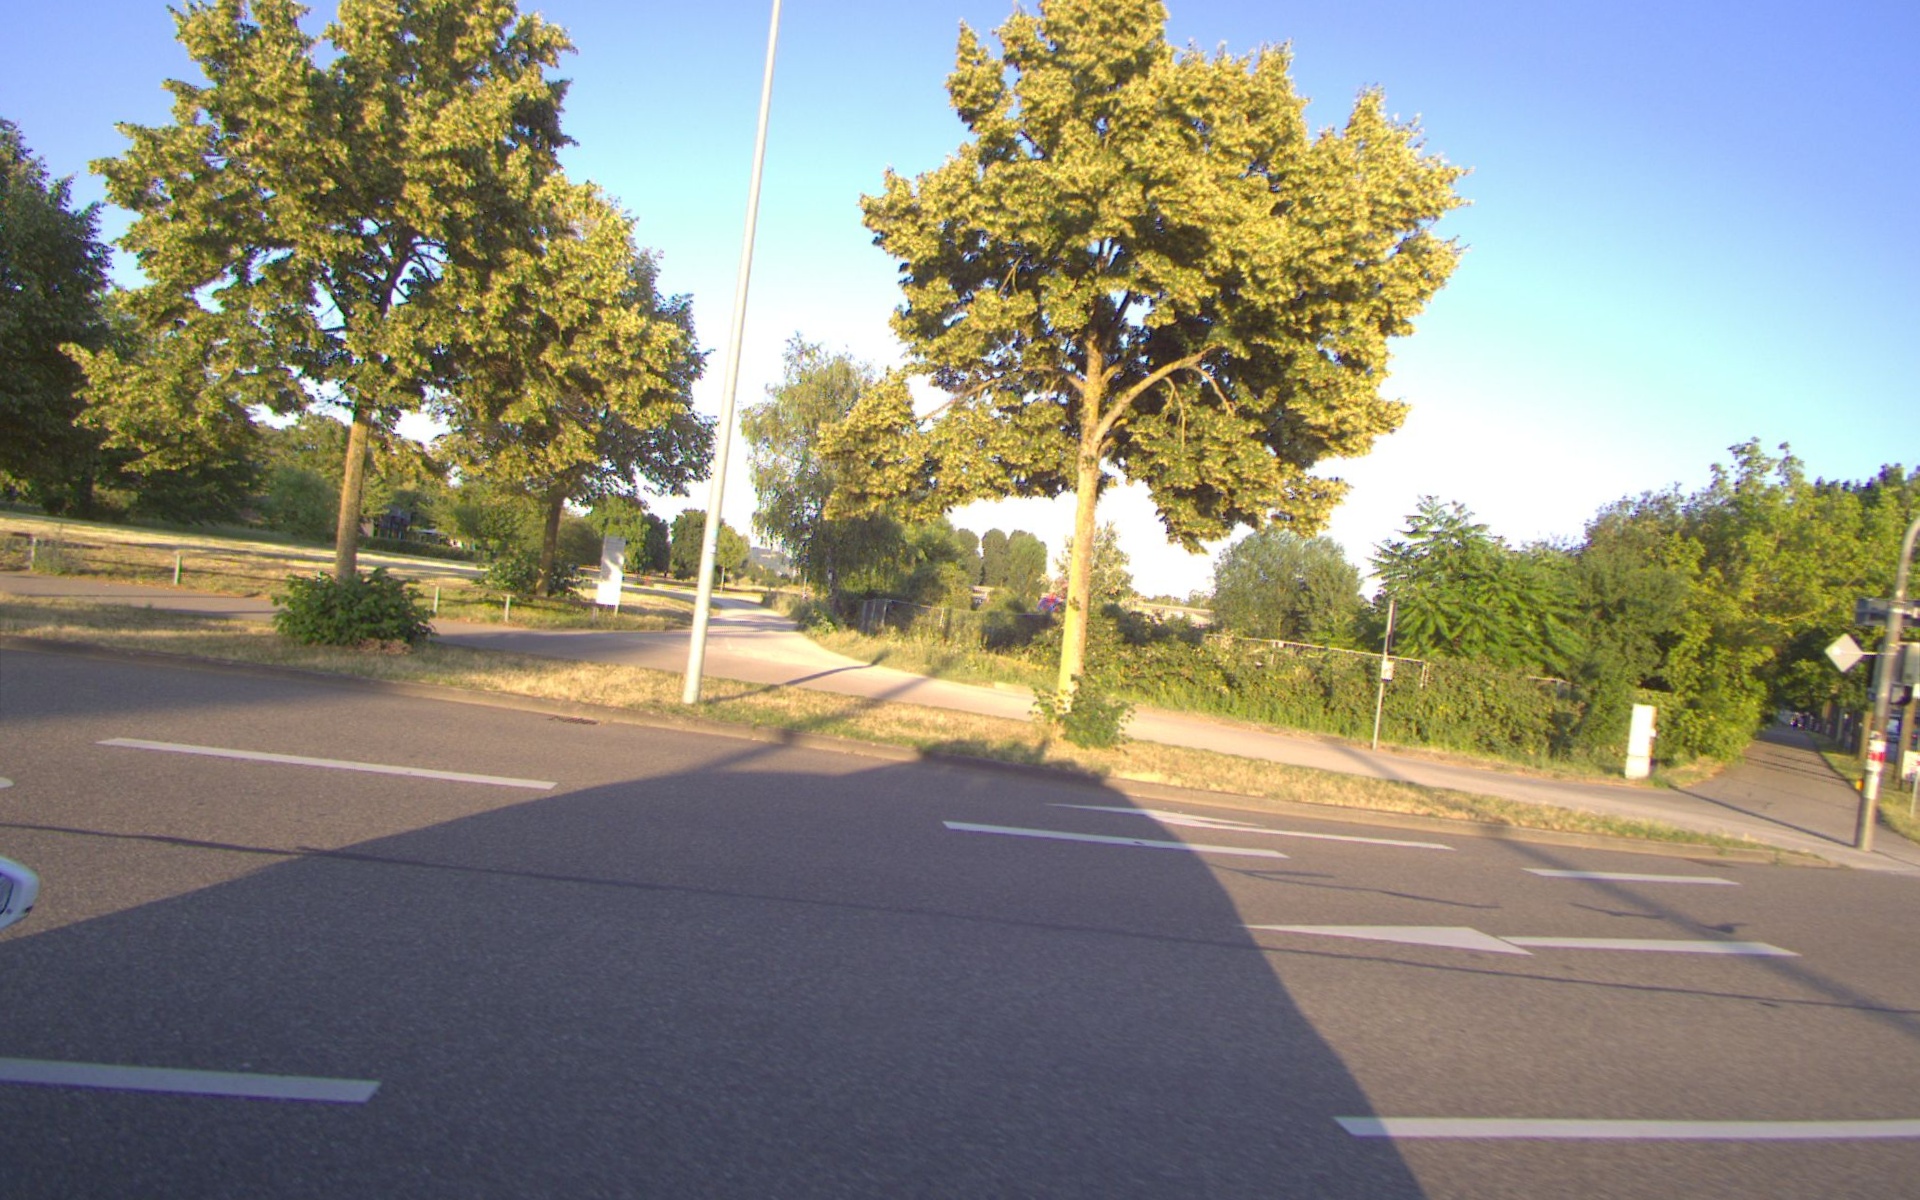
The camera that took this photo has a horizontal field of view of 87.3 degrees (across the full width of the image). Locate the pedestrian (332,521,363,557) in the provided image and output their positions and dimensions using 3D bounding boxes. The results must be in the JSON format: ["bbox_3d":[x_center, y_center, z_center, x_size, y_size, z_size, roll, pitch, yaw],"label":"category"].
[{"bbox_3d":[-35.540,-3.535,58.367,0.894,1.886,1.105,7,0,7],"label":"pedestrian"}]

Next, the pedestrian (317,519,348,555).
[{"bbox_3d":[-36.797,-3.677,59.003,0.894,1.886,1.105,7,0,7],"label":"pedestrian"}]
